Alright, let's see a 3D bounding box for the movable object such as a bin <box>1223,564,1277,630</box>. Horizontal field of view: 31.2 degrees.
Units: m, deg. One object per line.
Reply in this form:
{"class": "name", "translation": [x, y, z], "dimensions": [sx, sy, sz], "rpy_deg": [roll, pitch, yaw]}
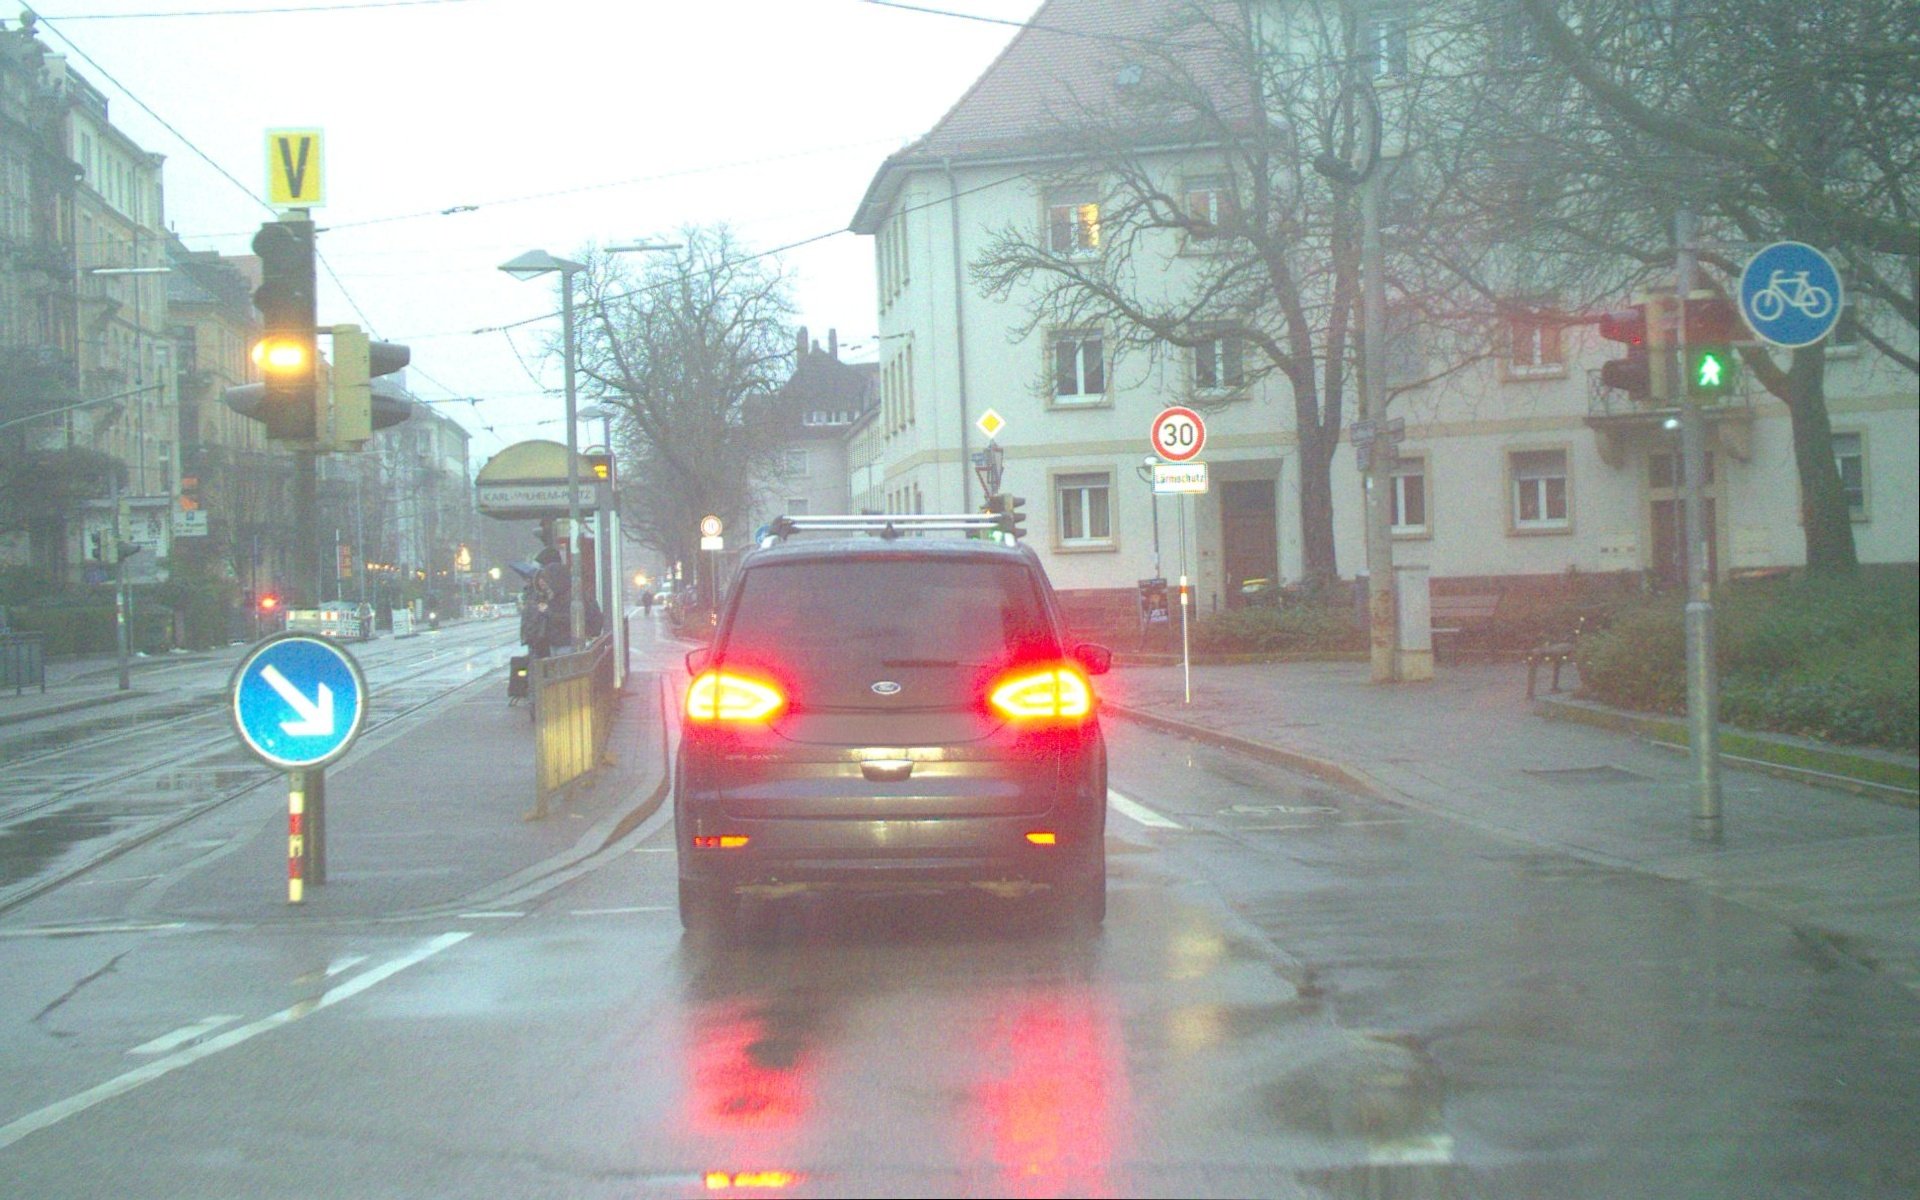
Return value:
{"class": "movable object such as a bin", "translation": [5.553, -0.057, 65.771], "dimensions": [0.853, 1.247, 0.521], "rpy_deg": [1, 0, 38]}

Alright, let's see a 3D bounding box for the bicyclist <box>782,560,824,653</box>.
{"class": "bicyclist", "translation": [-2.976, 0.115, 65.054], "dimensions": [0.730, 1.731, 0.766], "rpy_deg": [-1, 0, -4]}

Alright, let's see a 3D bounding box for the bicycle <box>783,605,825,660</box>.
{"class": "bicycle", "translation": [-2.964, 0.613, 65.024], "dimensions": [0.731, 1.003, 1.764], "rpy_deg": [-1, 0, -4]}

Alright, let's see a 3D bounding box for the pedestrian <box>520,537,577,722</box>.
{"class": "pedestrian", "translation": [-4.454, 0.316, 37.234], "dimensions": [0.557, 1.980, 0.571], "rpy_deg": [1, 0, -4]}

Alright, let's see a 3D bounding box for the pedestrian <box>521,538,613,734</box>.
{"class": "pedestrian", "translation": [-3.964, 0.361, 34.715], "dimensions": [0.853, 1.949, 0.571], "rpy_deg": [1, 0, -4]}

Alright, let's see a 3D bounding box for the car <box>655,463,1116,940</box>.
{"class": "car", "translation": [-0.417, 0.399, 15.709], "dimensions": [1.801, 1.864, 4.018], "rpy_deg": [1, 0, -4]}

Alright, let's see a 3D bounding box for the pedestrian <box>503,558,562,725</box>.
{"class": "pedestrian", "translation": [-4.494, 0.431, 36.171], "dimensions": [0.557, 1.735, 0.571], "rpy_deg": [1, 0, -4]}
